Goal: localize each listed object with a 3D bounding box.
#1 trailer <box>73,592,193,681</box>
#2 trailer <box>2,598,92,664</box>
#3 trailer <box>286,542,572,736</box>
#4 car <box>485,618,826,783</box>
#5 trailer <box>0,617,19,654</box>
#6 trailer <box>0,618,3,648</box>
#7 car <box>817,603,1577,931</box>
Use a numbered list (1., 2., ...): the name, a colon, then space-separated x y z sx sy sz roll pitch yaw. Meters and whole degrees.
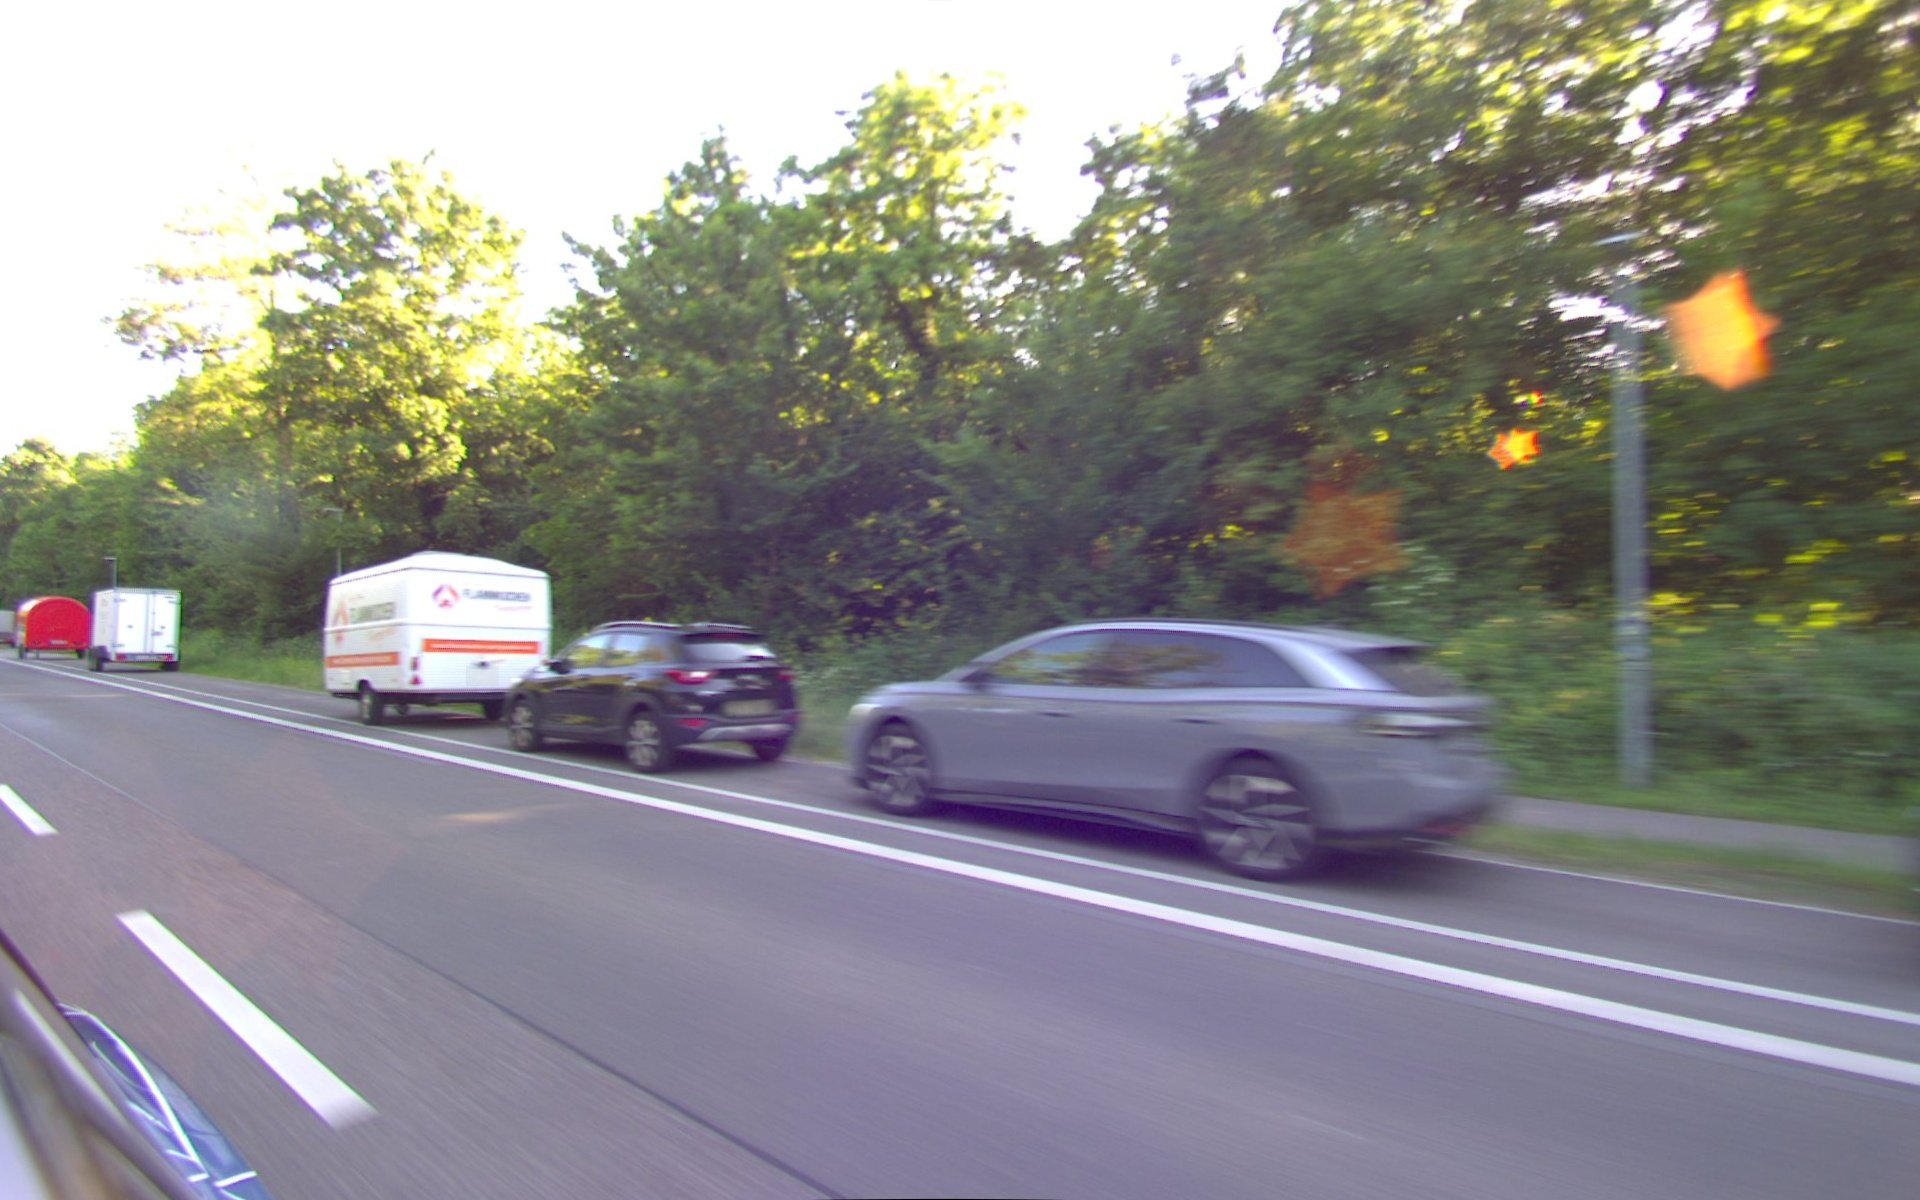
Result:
1. trailer: -24.922 1.070 30.484 3.556 2.499 2.046 -1 -2 38
2. trailer: -36.528 1.220 40.481 3.556 2.499 2.046 -1 -2 38
3. trailer: -8.227 0.568 15.573 4.338 2.548 2.323 -1 -2 38
4. car: -3.543 1.004 11.368 4.192 1.506 1.653 -1 -4 42
5. trailer: -54.318 1.952 56.758 3.560 2.029 1.833 -1 -4 42
6. trailer: -64.467 2.184 66.010 6.261 1.929 2.403 -2 -1 41
7. car: 1.311 0.886 7.259 5.125 1.586 1.653 -1 -4 42
